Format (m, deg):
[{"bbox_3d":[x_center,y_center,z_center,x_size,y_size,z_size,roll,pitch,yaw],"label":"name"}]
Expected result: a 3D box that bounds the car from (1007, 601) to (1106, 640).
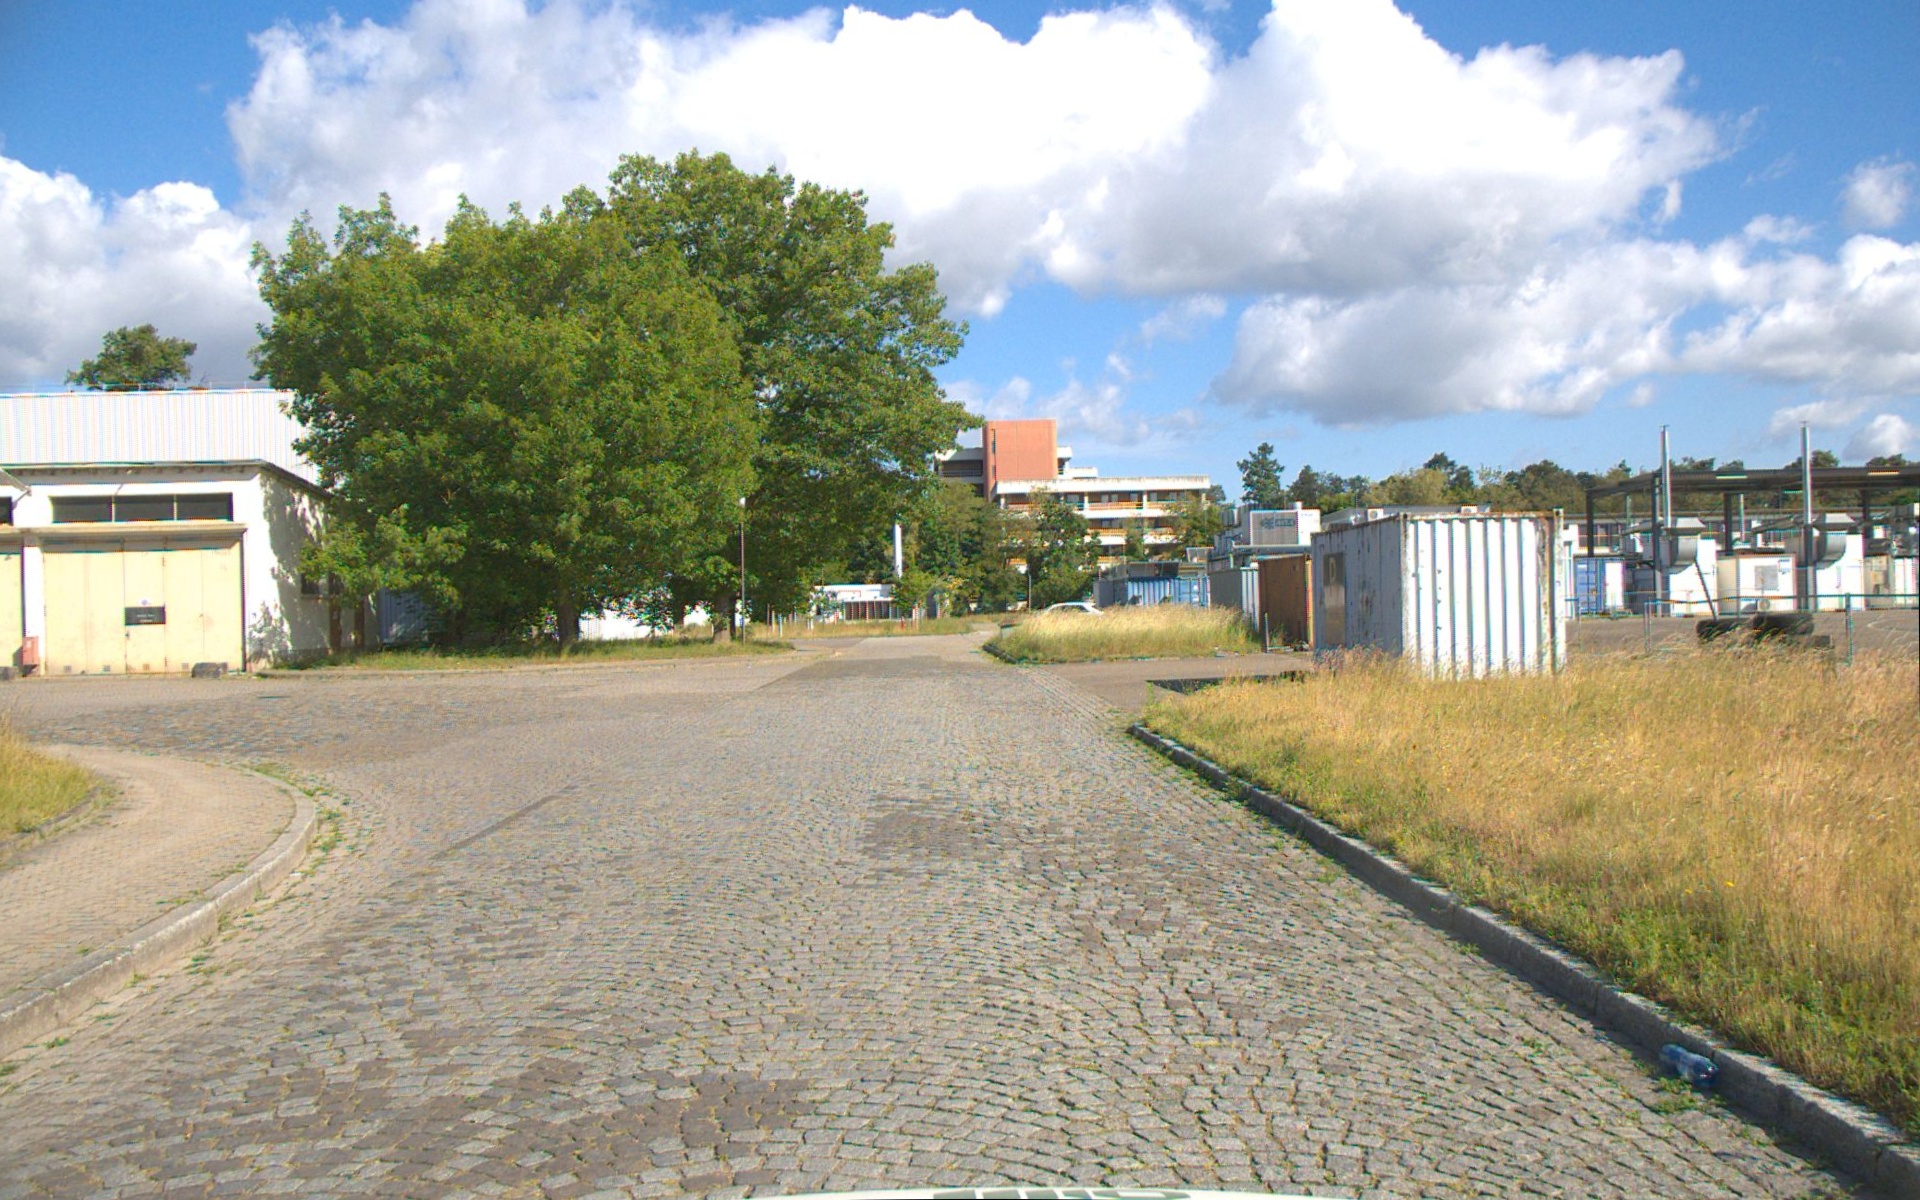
[{"bbox_3d":[4.528,0.956,77.945,4.415,1.676,1.999,-2,0,-3],"label":"car"}]
